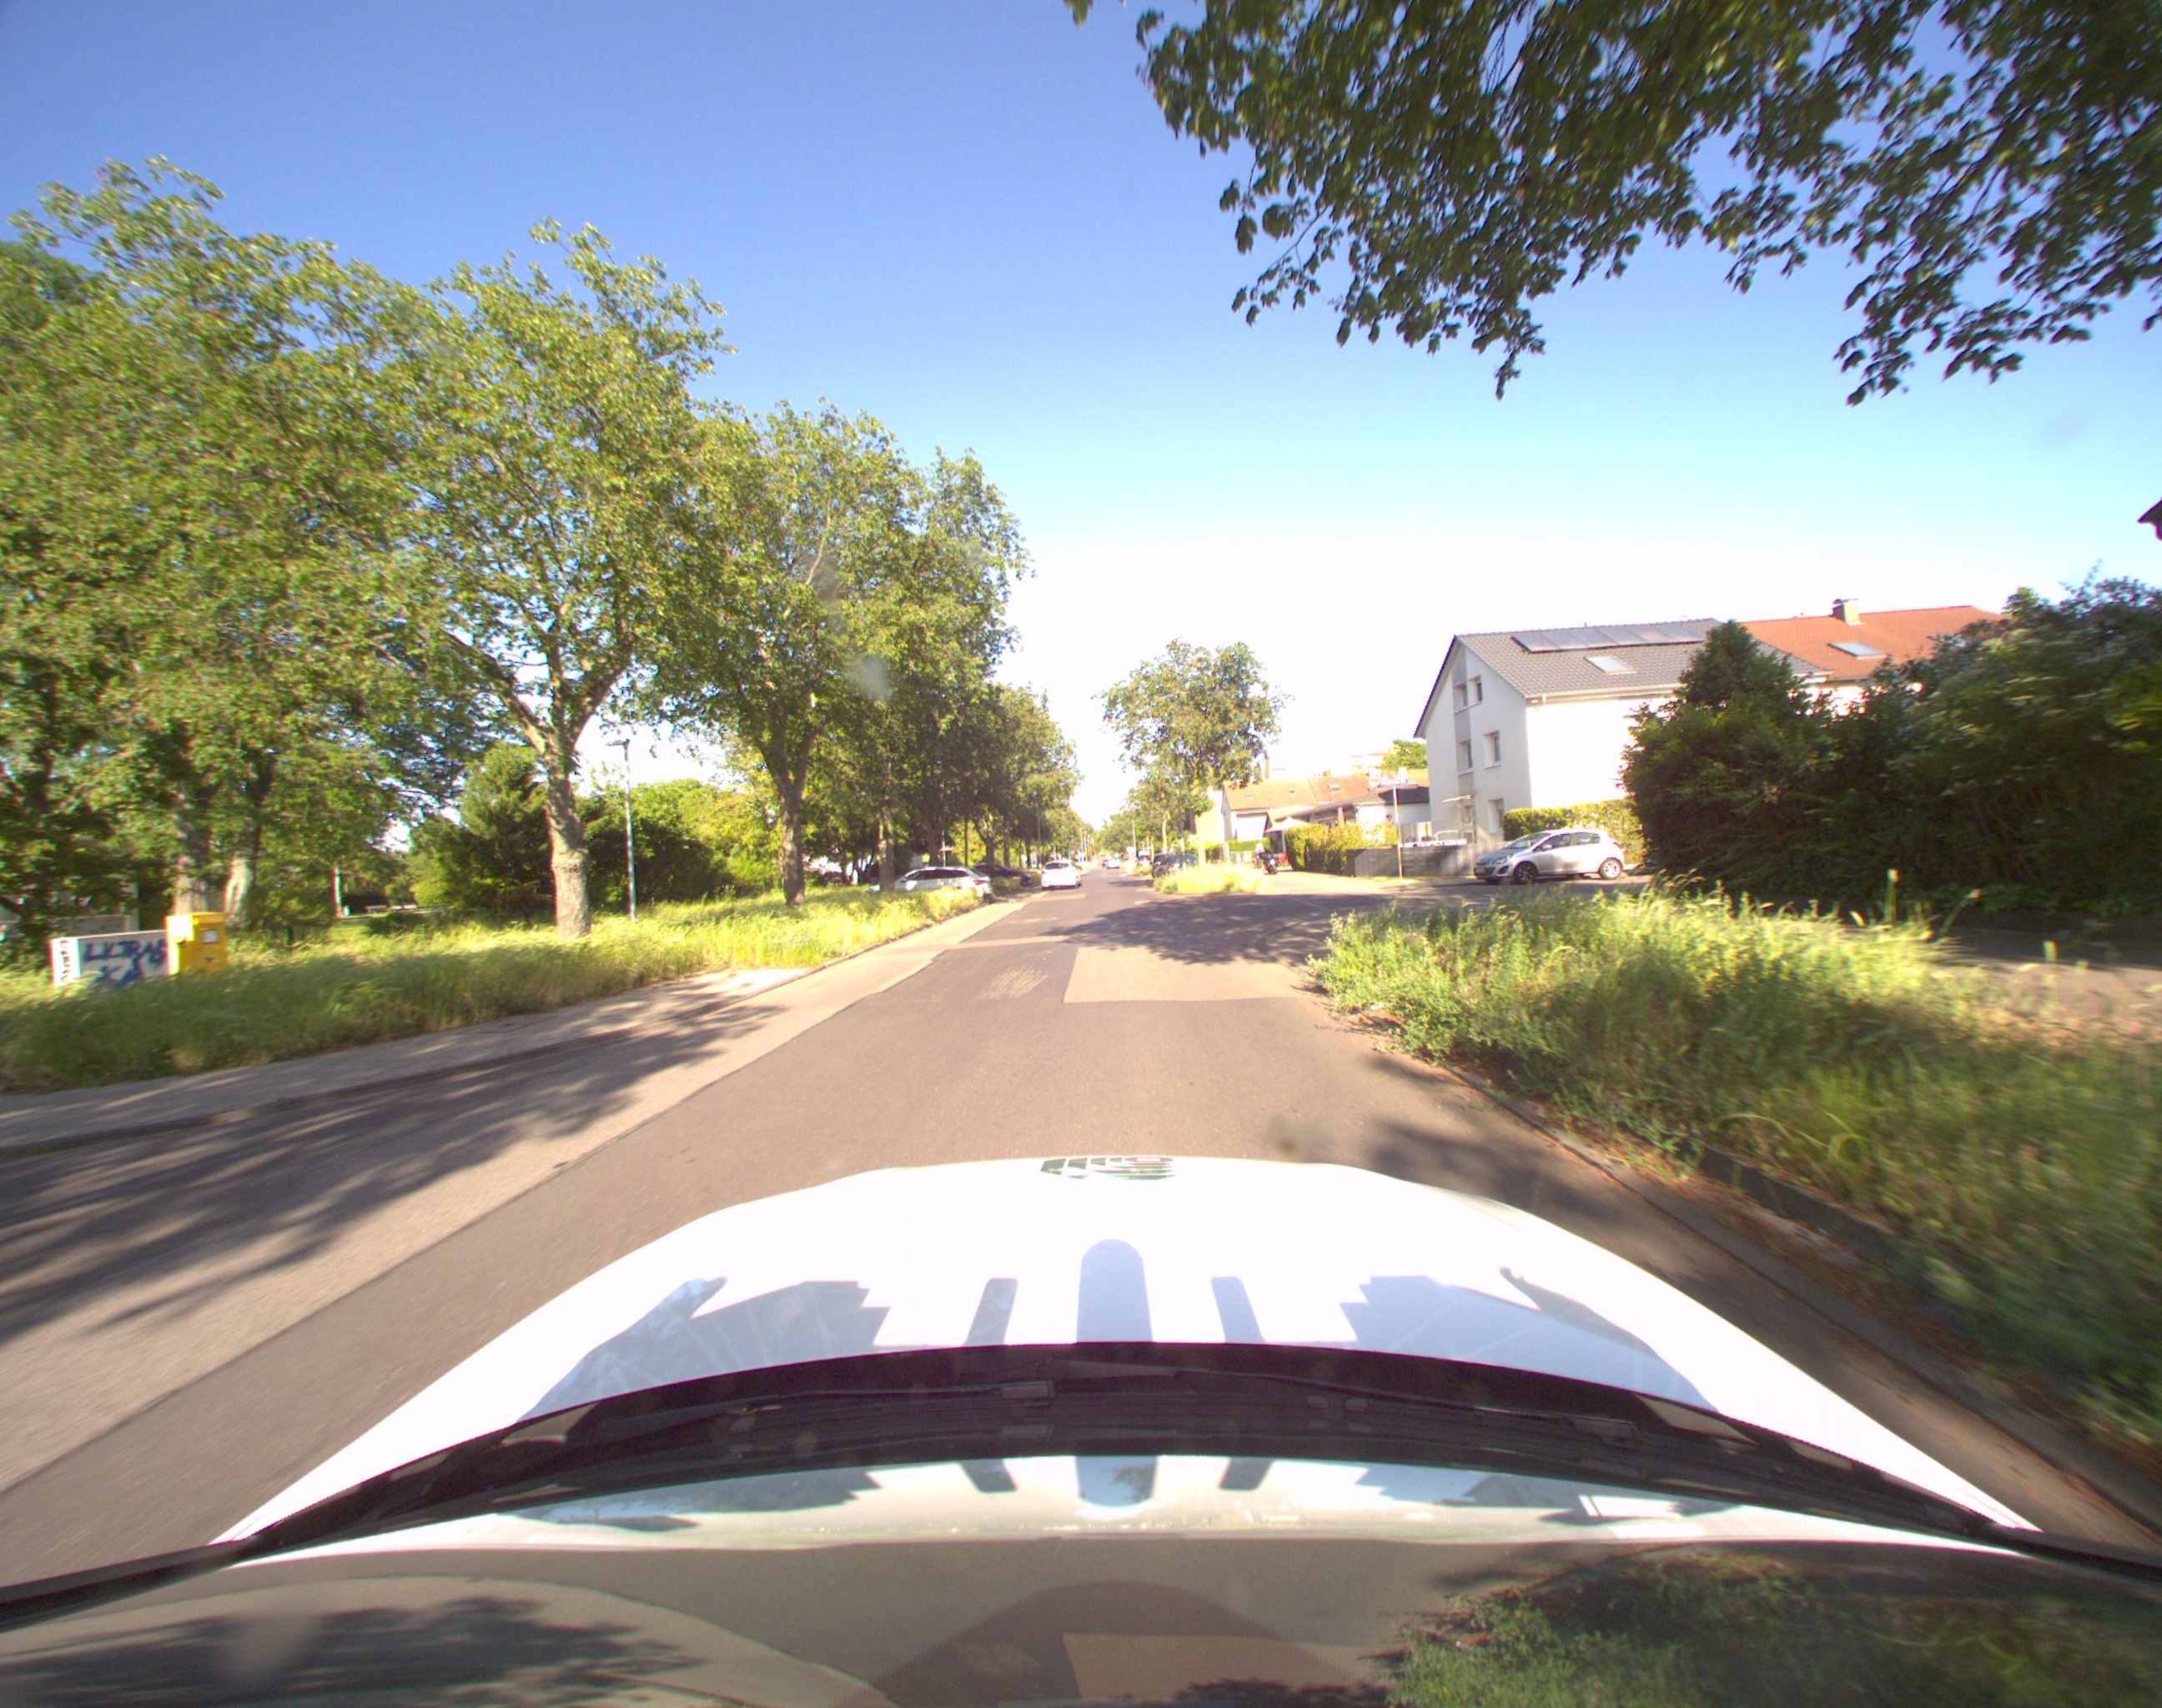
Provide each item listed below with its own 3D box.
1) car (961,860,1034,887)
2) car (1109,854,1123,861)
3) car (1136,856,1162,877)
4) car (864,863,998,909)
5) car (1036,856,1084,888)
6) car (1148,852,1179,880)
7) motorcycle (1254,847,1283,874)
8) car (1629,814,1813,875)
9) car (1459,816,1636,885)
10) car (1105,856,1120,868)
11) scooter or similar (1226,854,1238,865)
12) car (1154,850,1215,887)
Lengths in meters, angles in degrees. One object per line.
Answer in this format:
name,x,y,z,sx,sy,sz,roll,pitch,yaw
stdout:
car,-5.183,1.185,51.068,4.352,1.531,1.807,-2,-1,0
car,10.120,1.055,236.699,3.975,1.750,1.999,-3,-1,-1
car,6.311,1.158,76.011,1.988,1.728,3.998,-5,-1,-1
car,-5.696,1.198,31.344,4.652,1.503,2.002,-3,0,3
car,-1.038,0.900,42.136,1.984,1.455,4.230,-3,0,5
car,4.926,0.714,49.239,1.604,1.622,4.384,0,-1,2
motorcycle,8.979,0.300,39.163,0.815,1.227,2.352,-5,0,1
car,18.108,-0.268,23.159,3.735,1.444,1.850,-3,0,0
car,13.141,-0.088,23.079,3.980,1.640,1.773,-3,0,-5
car,4.247,1.086,109.460,1.986,1.508,3.659,0,-1,2
scooter or similar,11.833,0.435,63.741,0.368,0.858,1.406,-2,0,-11
car,4.667,0.649,37.288,1.990,1.622,4.375,0,-1,-4
